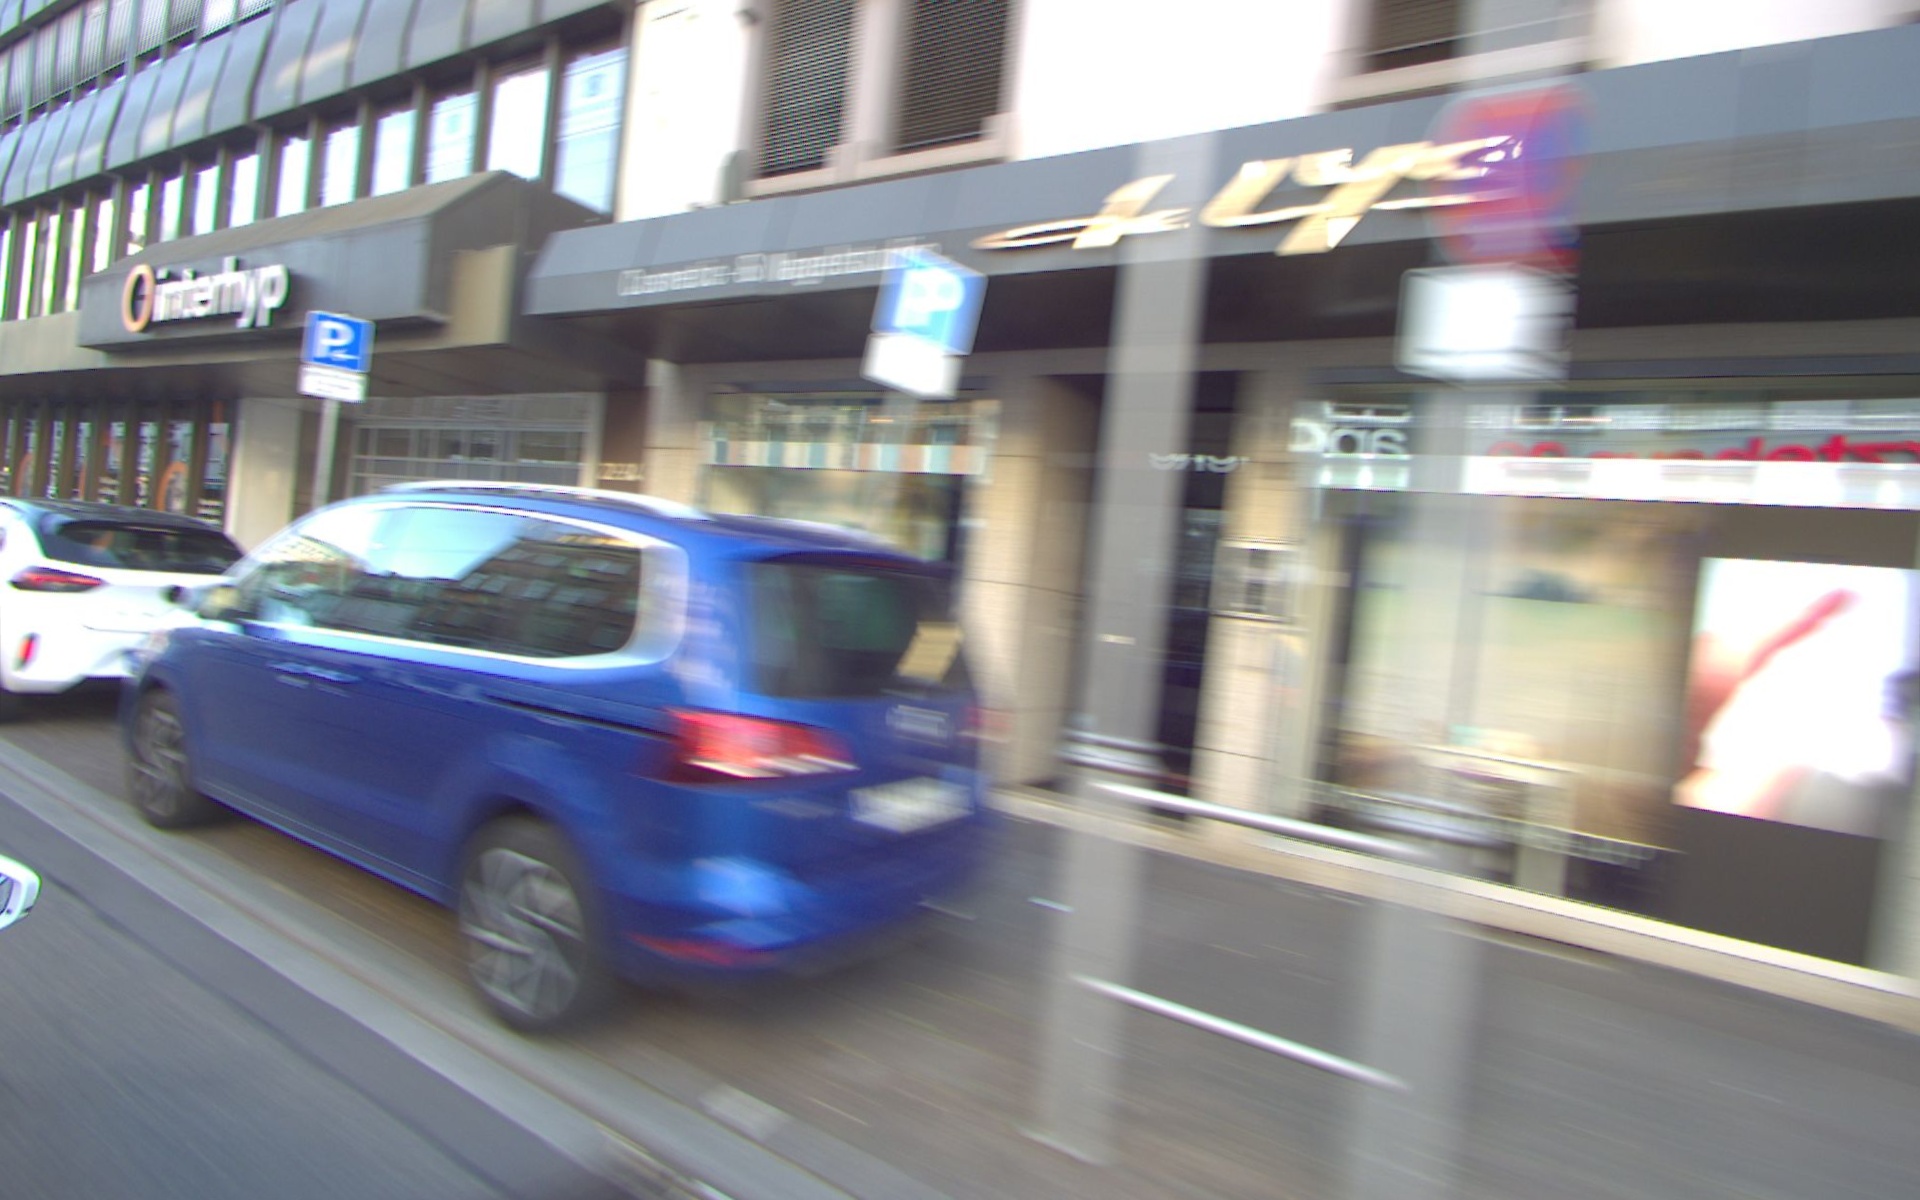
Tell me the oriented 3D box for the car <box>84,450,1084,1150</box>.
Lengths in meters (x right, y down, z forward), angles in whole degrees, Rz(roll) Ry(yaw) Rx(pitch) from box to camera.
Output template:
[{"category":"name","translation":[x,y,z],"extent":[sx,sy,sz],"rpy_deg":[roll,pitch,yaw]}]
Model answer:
[{"category":"car","translation":[-1.950,0.370,4.596],"extent":[4.489,1.740,1.914],"rpy_deg":[7,2,33]}]

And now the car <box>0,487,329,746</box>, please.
[{"category":"car","translation":[-6.770,-0.040,7.698],"extent":[3.808,1.505,1.766],"rpy_deg":[7,2,32]}]
